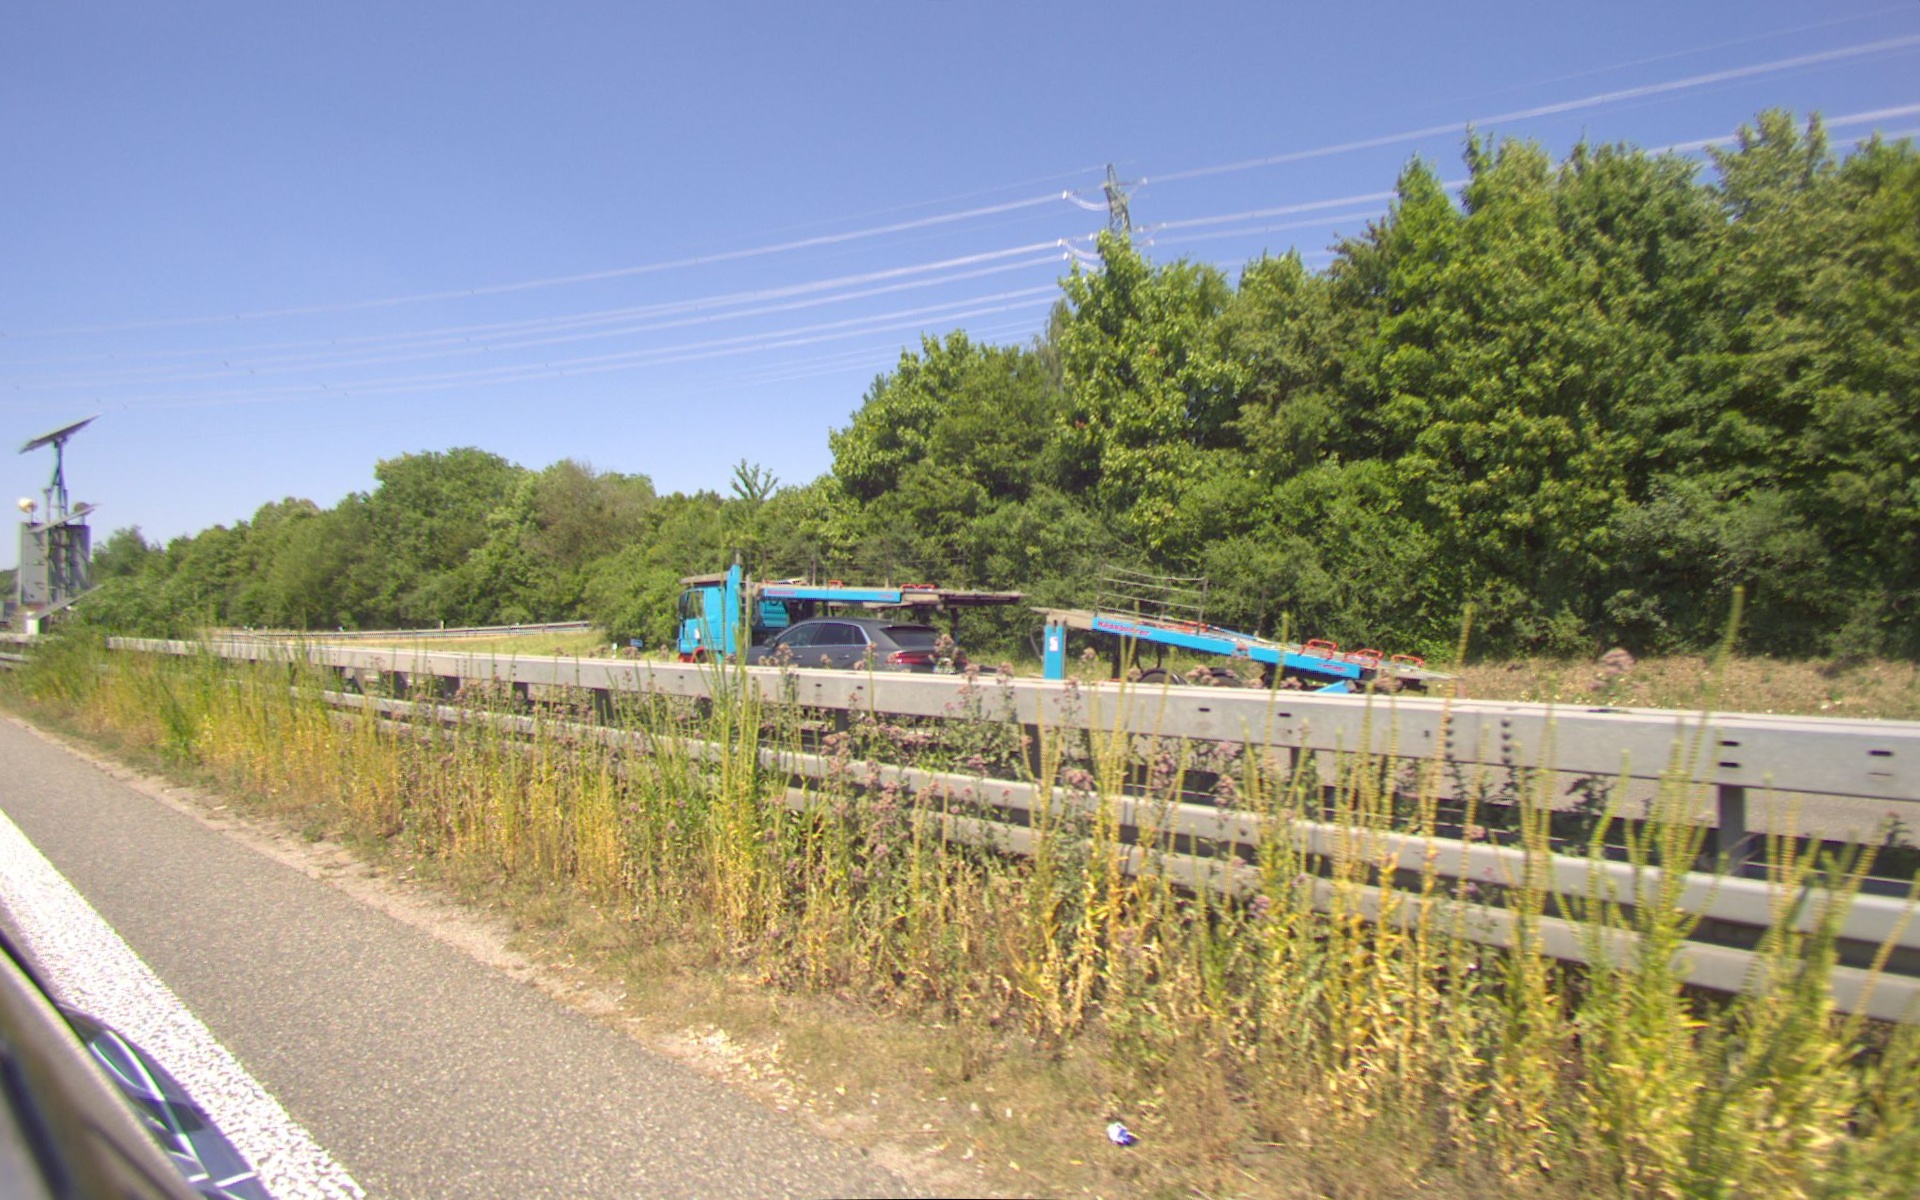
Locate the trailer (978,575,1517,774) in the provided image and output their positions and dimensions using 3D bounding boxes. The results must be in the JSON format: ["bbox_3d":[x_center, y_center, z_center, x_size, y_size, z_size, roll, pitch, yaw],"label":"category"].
[{"bbox_3d":[4.547,1.025,17.593,8.529,2.659,3.112,-1,0,42],"label":"trailer"}]

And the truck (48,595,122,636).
[{"bbox_3d":[-106.222,1.947,122.674,14.503,4.374,2.972,-3,-3,33],"label":"truck"}]

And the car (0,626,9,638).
[{"bbox_3d":[-107.247,3.532,112.448,4.919,1.344,1.751,-1,-3,41],"label":"car"}]

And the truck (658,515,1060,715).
[{"bbox_3d":[-2.869,0.383,24.072,10.784,3.831,2.965,-1,-2,41],"label":"truck"}]

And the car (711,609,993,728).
[{"bbox_3d":[-1.887,1.040,16.513,4.857,1.669,1.706,-1,-4,41],"label":"car"}]

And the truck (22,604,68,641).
[{"bbox_3d":[-91.656,2.236,101.367,3.116,3.586,2.965,-1,-2,41],"label":"truck"}]

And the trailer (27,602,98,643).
[{"bbox_3d":[-84.473,2.111,95.057,16.015,3.586,2.964,-1,-2,41],"label":"trailer"}]

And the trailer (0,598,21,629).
[{"bbox_3d":[-140.191,1.954,148.107,13.813,4.374,3.139,-1,-2,43],"label":"trailer"}]
